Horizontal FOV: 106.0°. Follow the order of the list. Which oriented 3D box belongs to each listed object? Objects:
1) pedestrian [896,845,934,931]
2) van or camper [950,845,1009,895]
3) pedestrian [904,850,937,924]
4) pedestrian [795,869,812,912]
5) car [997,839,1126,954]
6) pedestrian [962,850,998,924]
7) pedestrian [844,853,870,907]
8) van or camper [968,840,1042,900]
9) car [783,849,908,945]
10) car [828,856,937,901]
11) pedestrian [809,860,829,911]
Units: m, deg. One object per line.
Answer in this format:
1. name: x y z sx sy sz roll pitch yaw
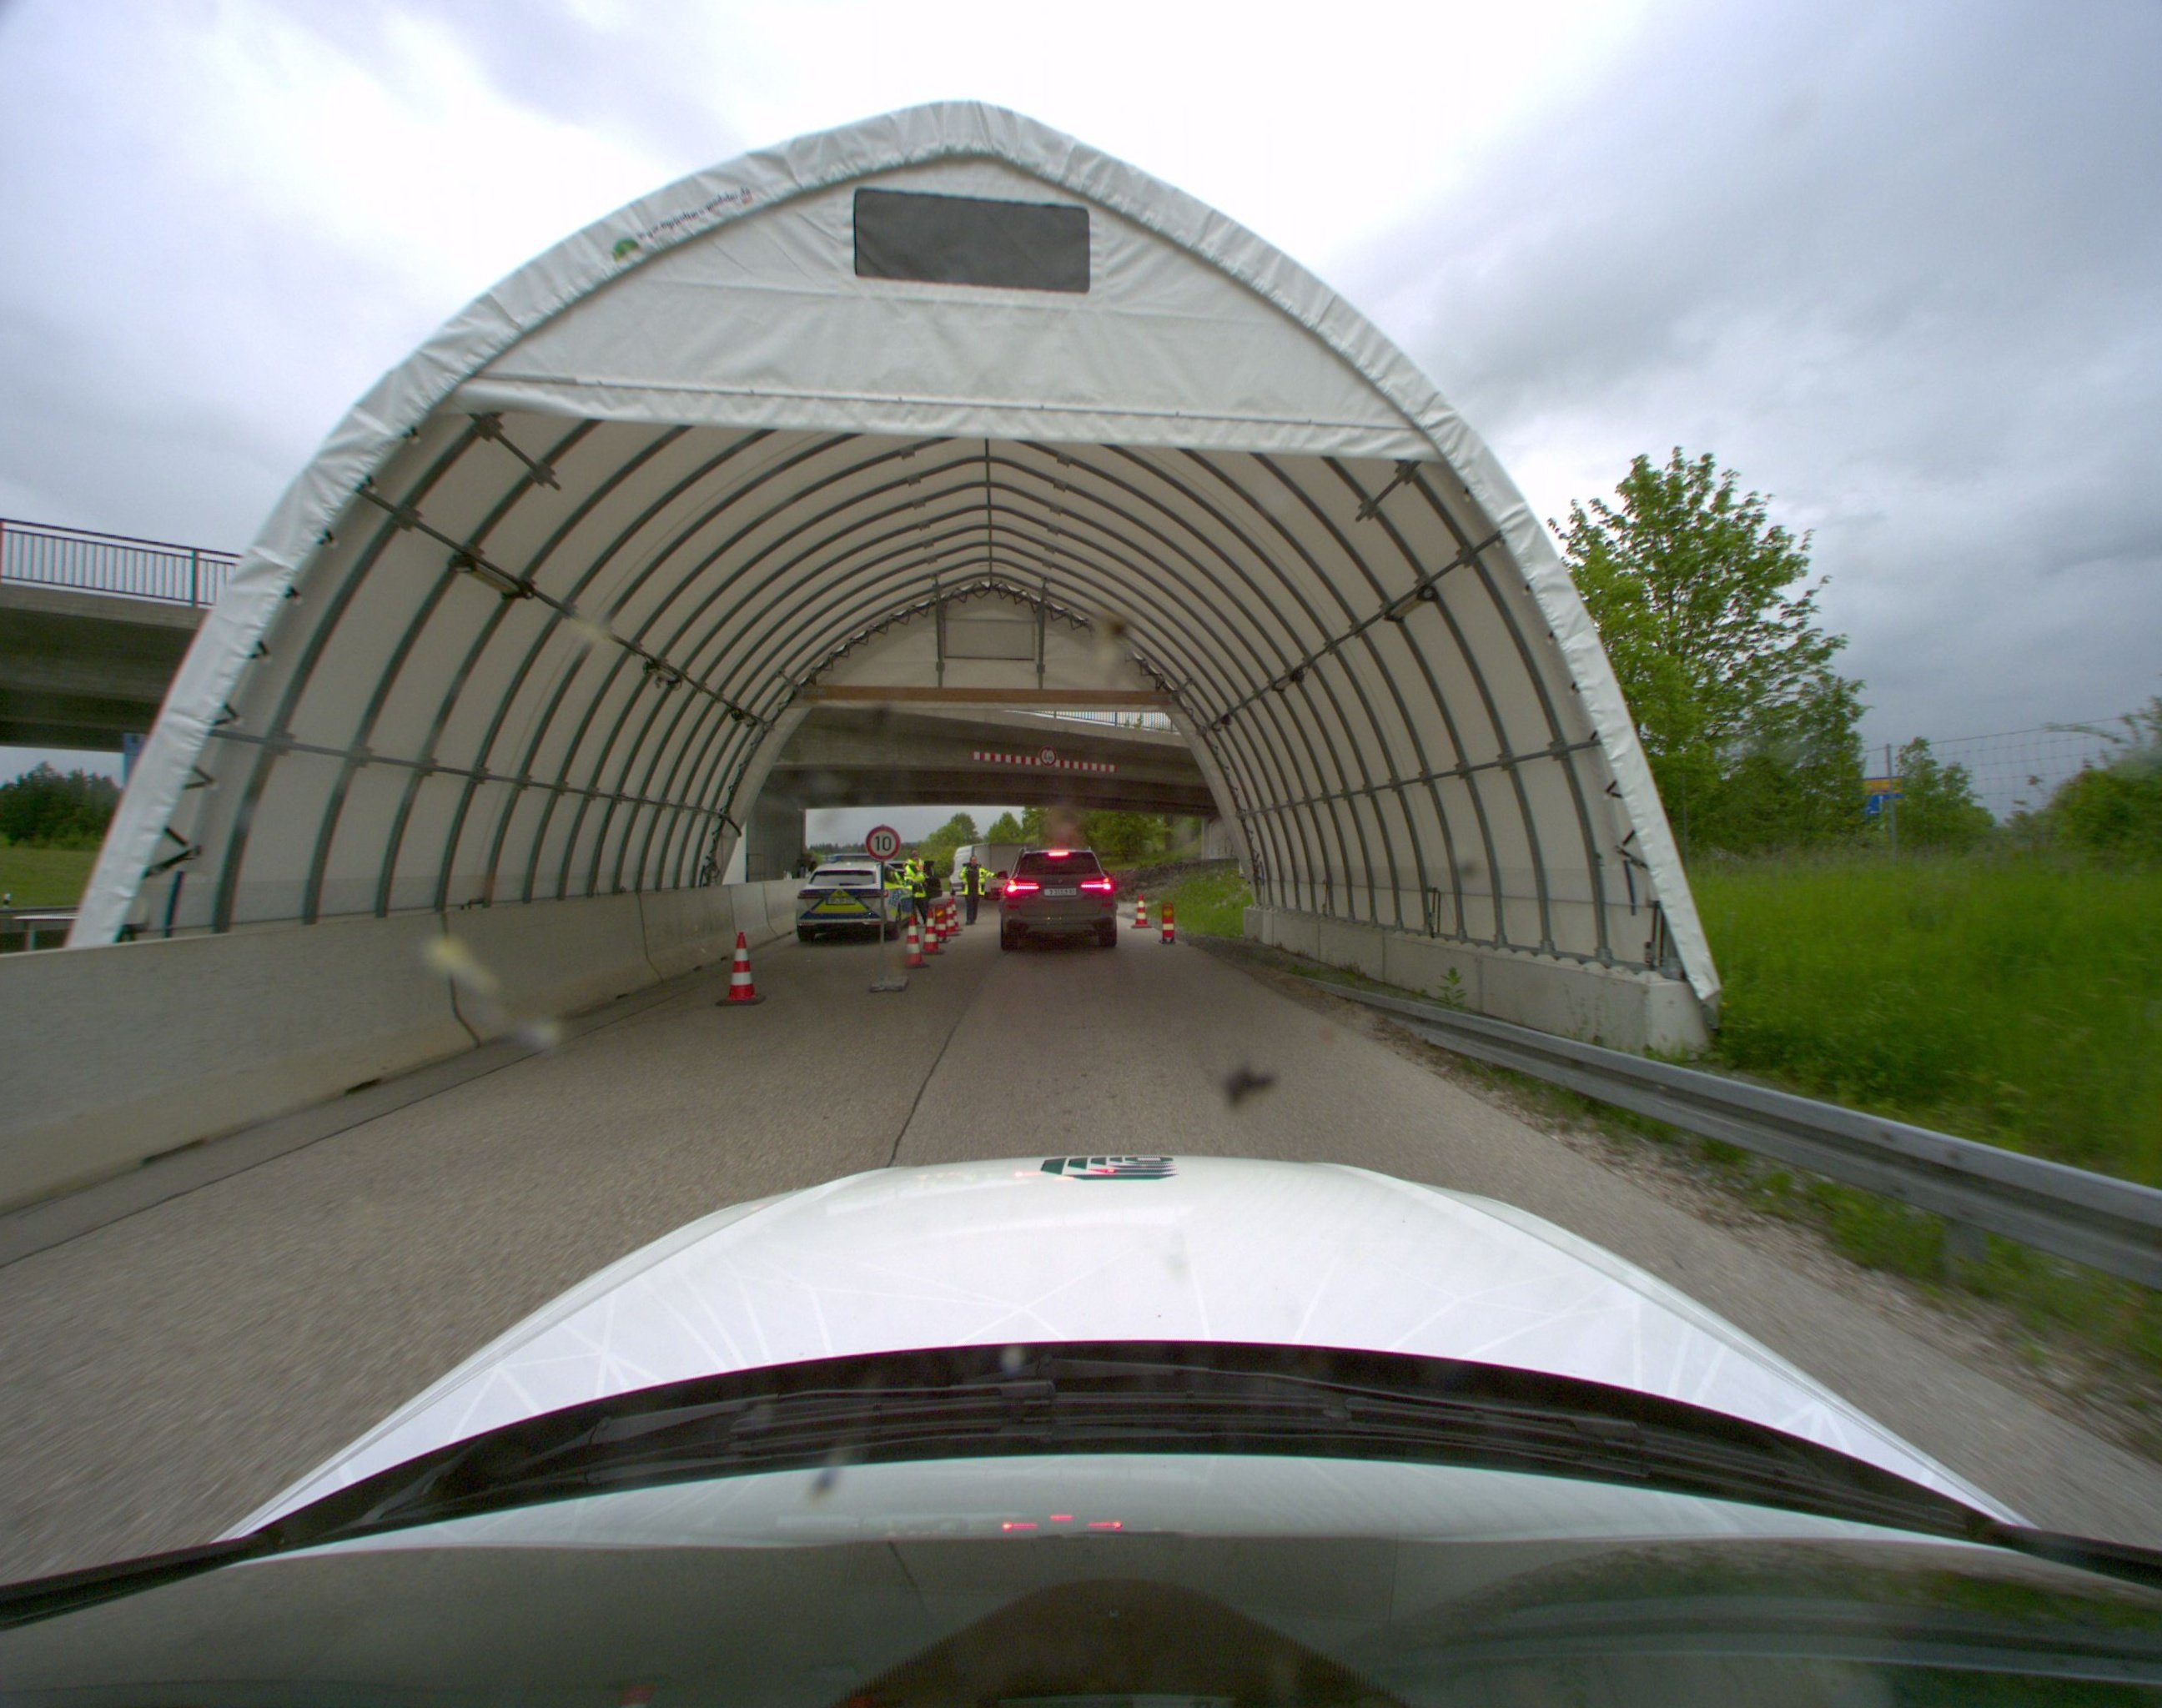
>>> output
1. pedestrian: -3.825 0.776 18.826 0.749 1.919 0.760 -2 -1 -9
2. van or camper: -5.596 0.843 44.252 2.110 2.519 5.515 -1 -1 -19
3. pedestrian: -3.915 0.796 19.911 0.607 1.754 0.666 -2 -1 0
4. pedestrian: -10.290 1.348 30.191 0.503 1.546 0.461 -1 -1 -14
5. car: -0.408 0.689 14.931 1.989 1.765 3.995 -2 -1 -3
6. pedestrian: -2.442 0.777 19.654 0.780 1.722 0.754 -2 -1 -10
7. pedestrian: -8.577 0.979 31.231 0.697 2.014 0.693 -2 -1 5
8. van or camper: -3.710 0.743 38.436 2.235 2.552 6.574 -2 -1 -16
9. car: -4.664 0.797 16.705 1.877 1.646 3.988 -2 -1 -8
10. car: -9.618 1.189 39.560 4.772 2.014 1.847 -2 -1 13
11. pedestrian: -10.416 1.243 32.388 0.624 2.014 0.654 -1 -1 -10
